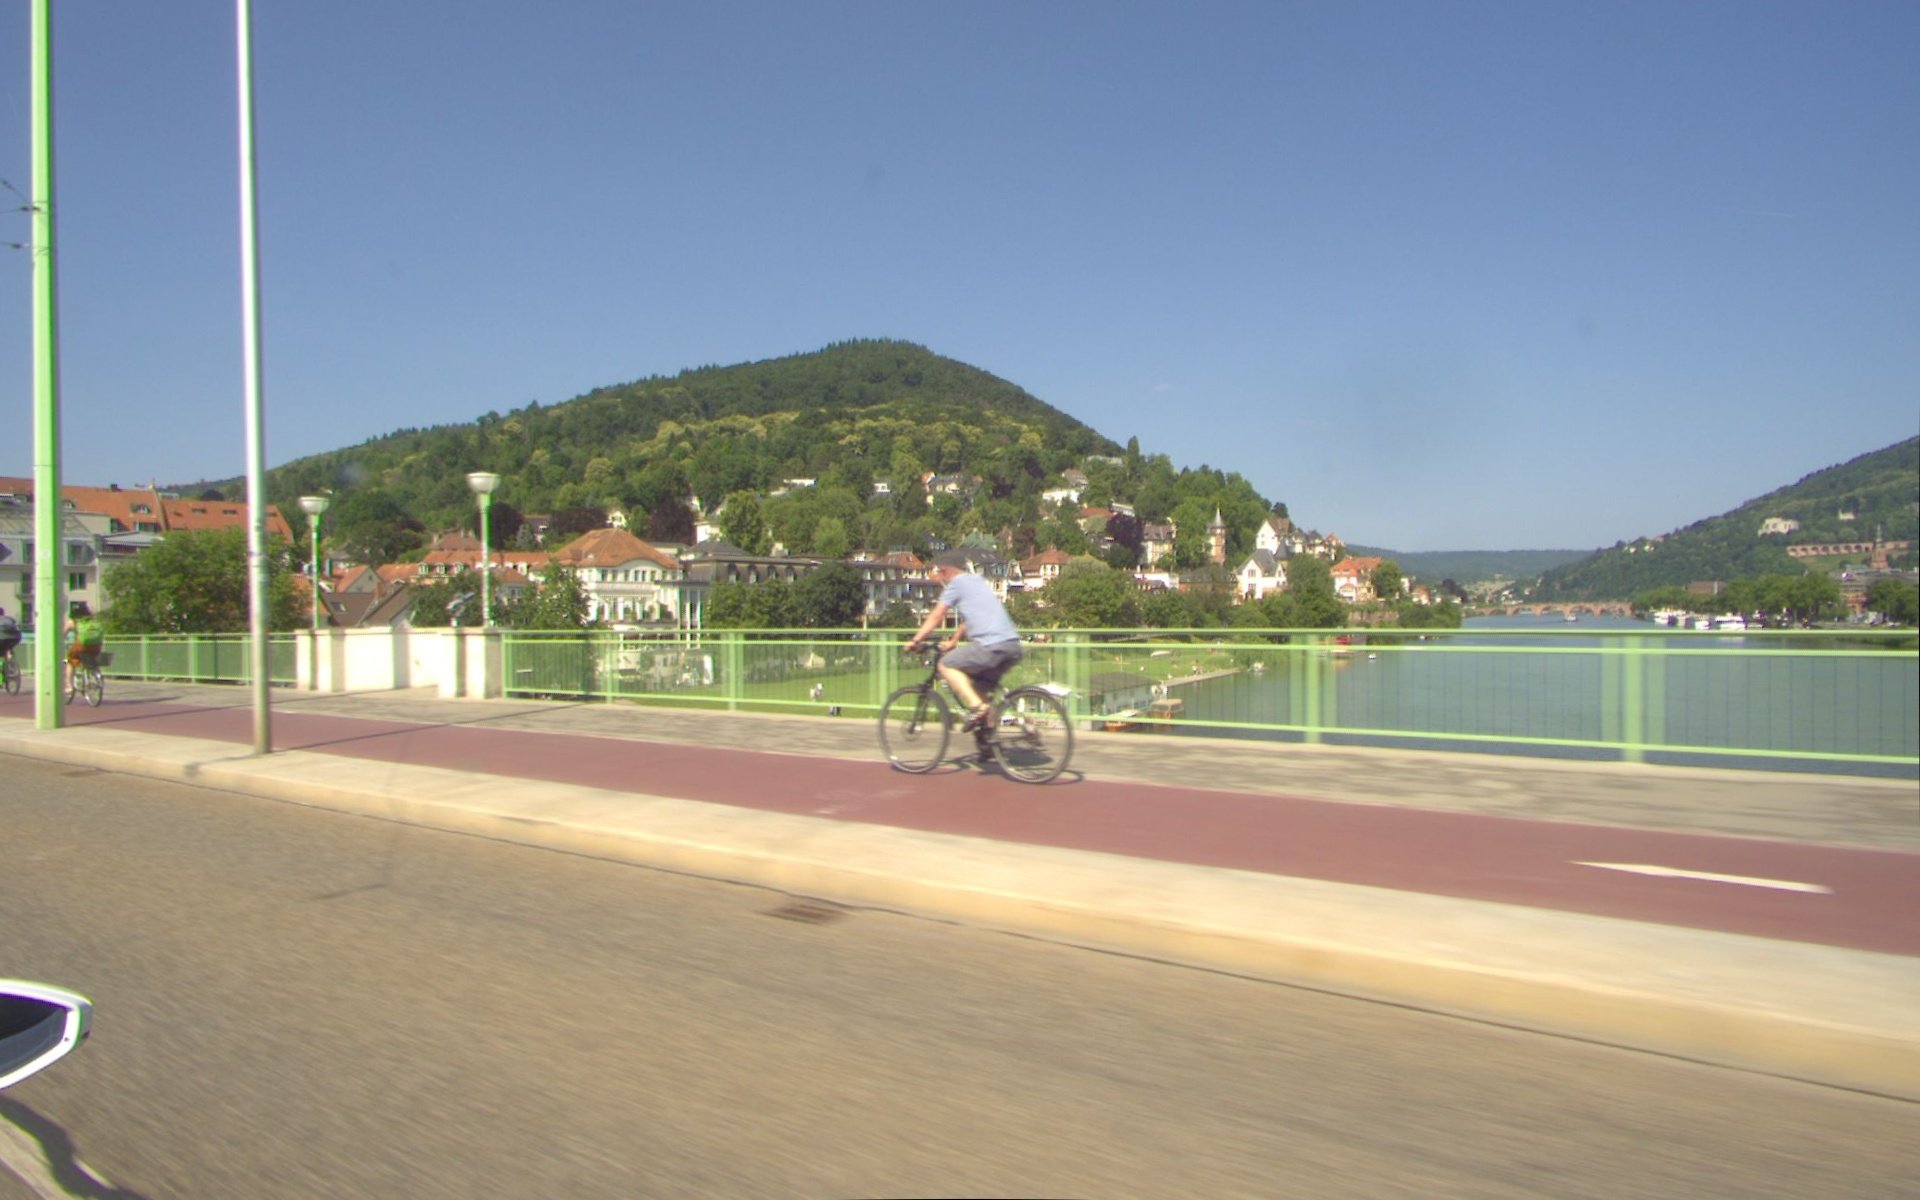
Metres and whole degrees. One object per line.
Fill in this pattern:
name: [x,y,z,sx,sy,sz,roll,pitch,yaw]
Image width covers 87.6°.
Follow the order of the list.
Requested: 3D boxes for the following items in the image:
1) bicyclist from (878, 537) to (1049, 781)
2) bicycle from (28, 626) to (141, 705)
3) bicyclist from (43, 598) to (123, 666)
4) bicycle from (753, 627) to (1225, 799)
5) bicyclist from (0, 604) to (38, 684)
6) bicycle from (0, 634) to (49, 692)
bicyclist: [0.030,0.440,7.808,1.132,1.767,0.672,-1,0,28]
bicycle: [-14.359,1.051,16.415,2.047,1.209,0.694,-1,0,28]
bicyclist: [-14.355,0.515,16.393,0.965,1.059,0.666,0,1,28]
bicycle: [0.106,0.785,7.770,3.686,1.110,0.791,-1,0,28]
bicyclist: [-18.566,0.835,19.429,0.966,1.520,0.734,0,0,30]
bicycle: [-18.616,1.206,19.535,2.233,1.051,0.617,-1,0,30]
